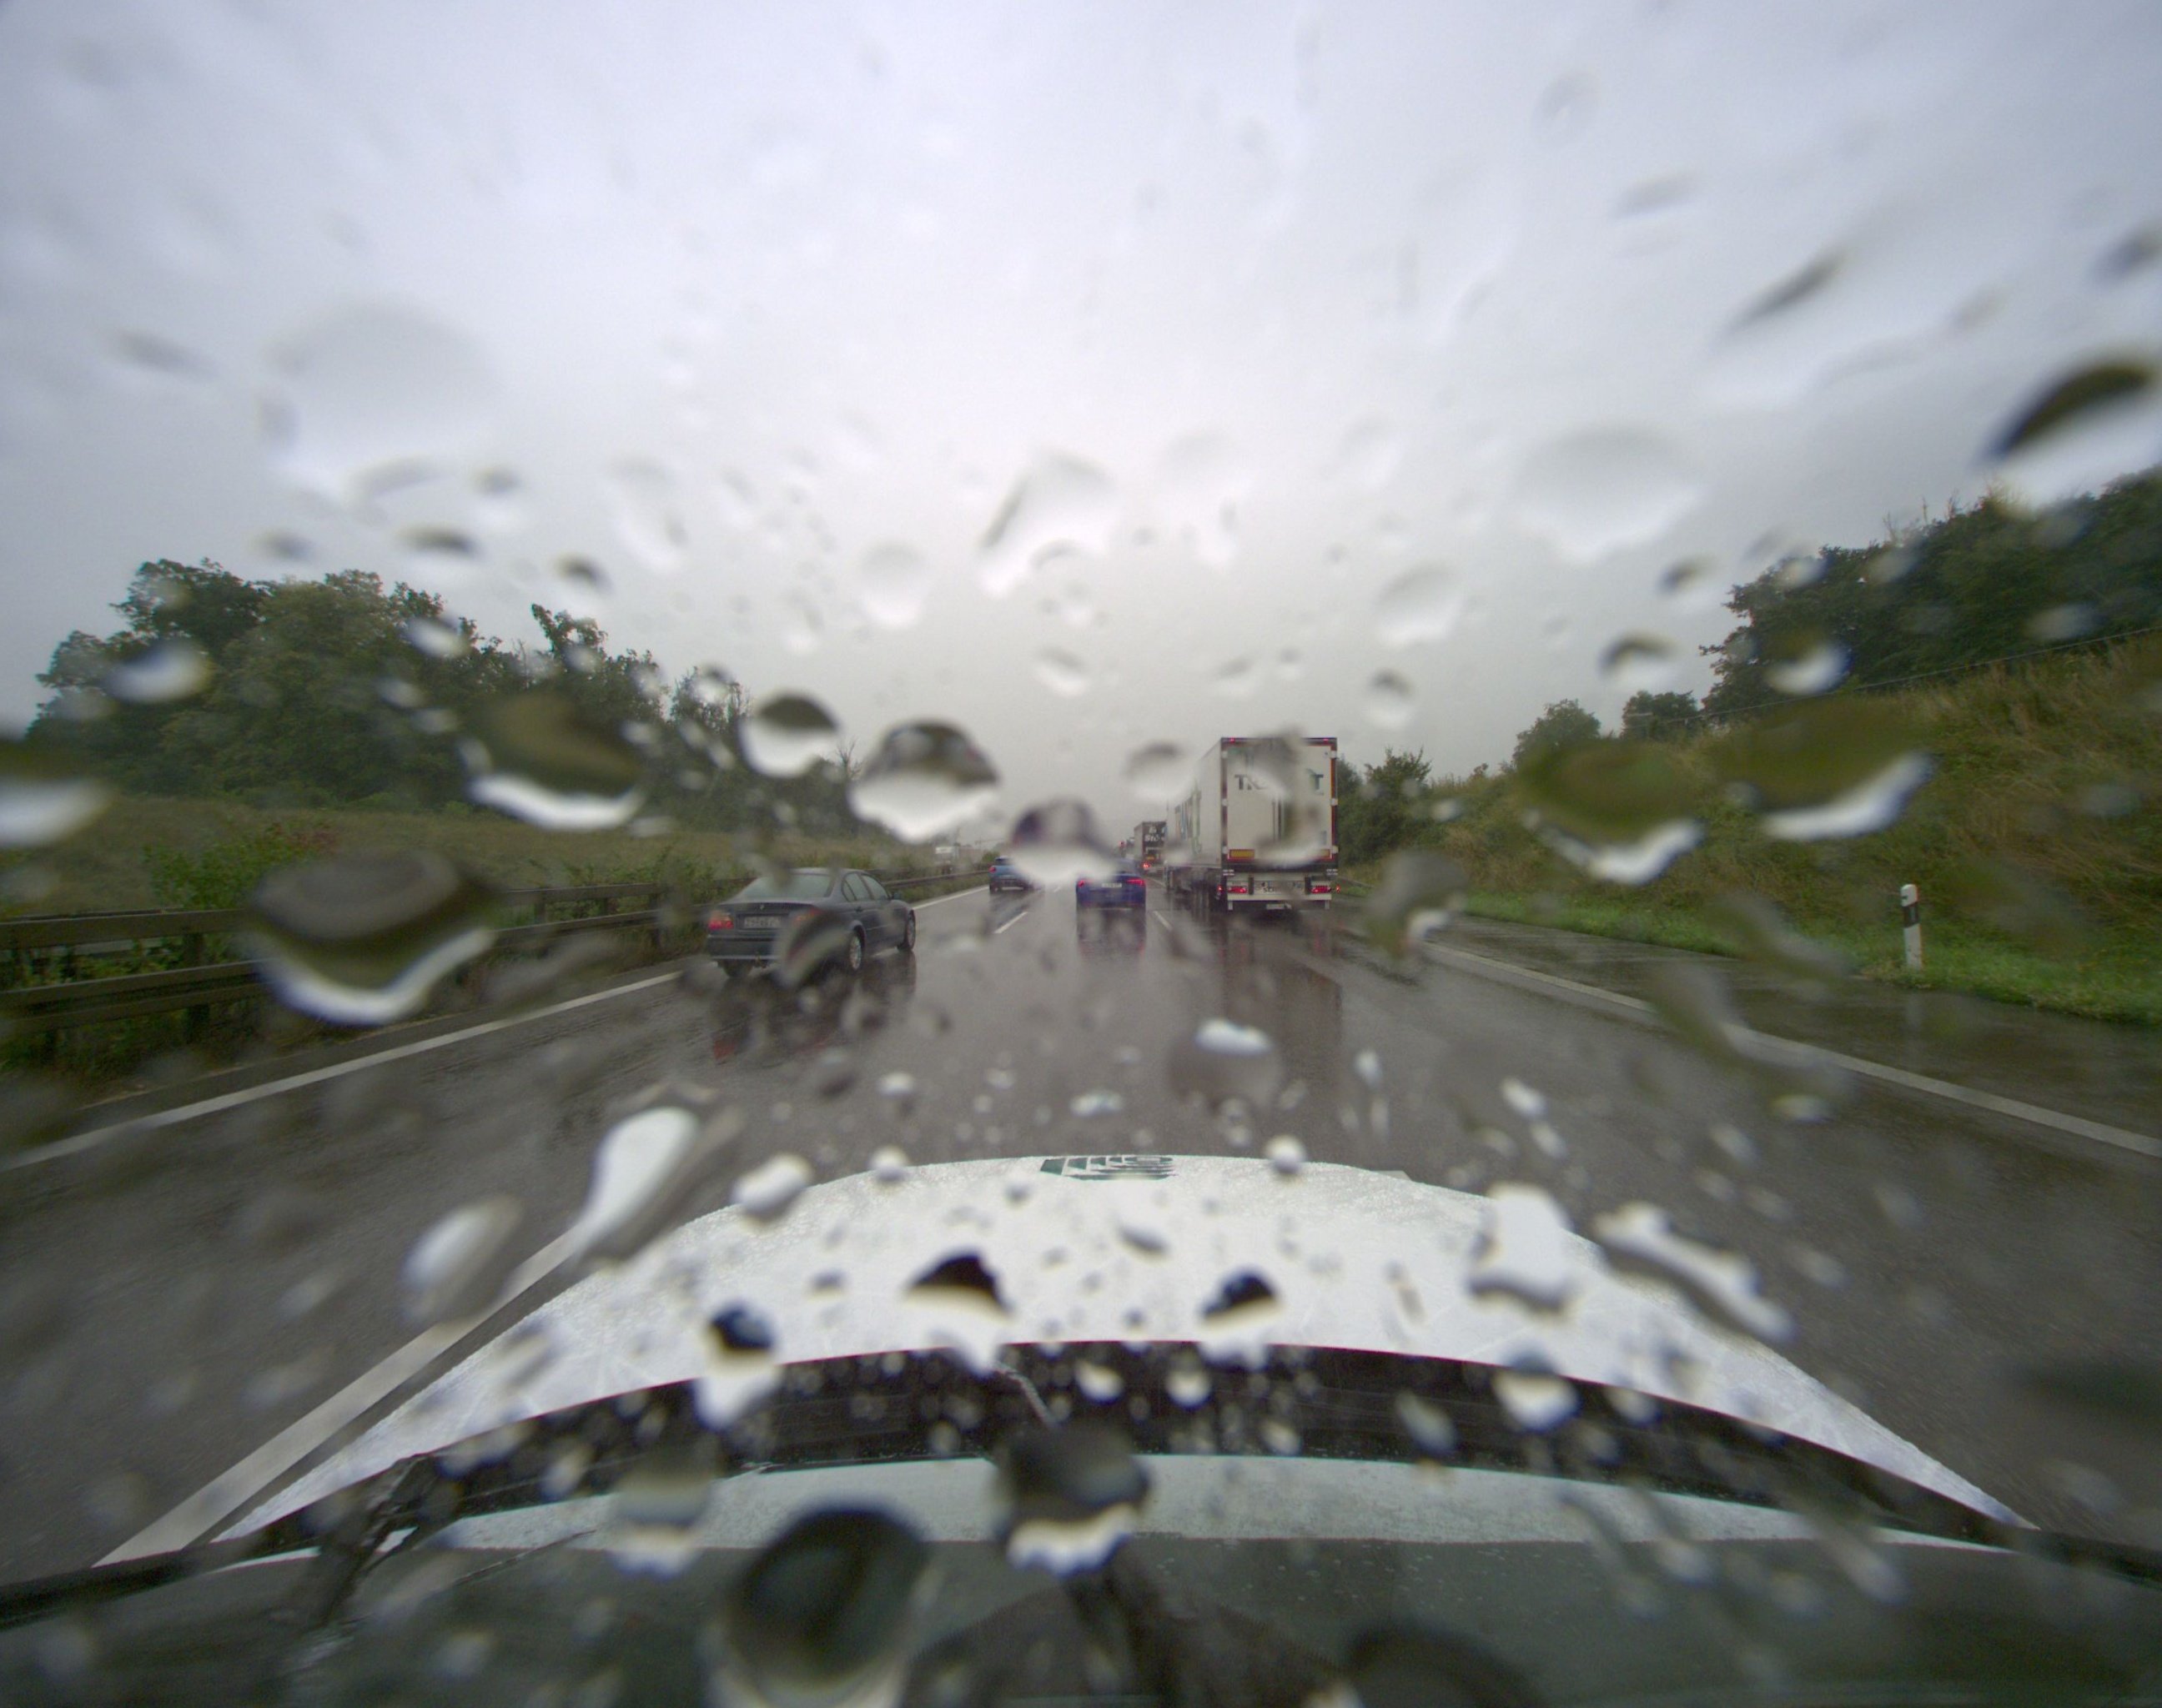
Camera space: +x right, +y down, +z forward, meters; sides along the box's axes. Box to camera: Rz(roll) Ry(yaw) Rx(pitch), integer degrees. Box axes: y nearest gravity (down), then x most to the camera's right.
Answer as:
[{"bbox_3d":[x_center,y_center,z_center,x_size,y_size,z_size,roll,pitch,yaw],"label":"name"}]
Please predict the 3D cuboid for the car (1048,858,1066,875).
[{"bbox_3d":[-2.192,1.142,74.397,1.434,1.420,3.323,-1,0,1],"label":"car"}]

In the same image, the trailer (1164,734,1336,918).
[{"bbox_3d":[4.481,-0.624,25.322,2.621,4.013,14.633,-1,0,1],"label":"trailer"}]

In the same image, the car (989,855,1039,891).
[{"bbox_3d":[-2.948,0.815,36.713,1.715,1.523,4.002,-1,0,2],"label":"car"}]

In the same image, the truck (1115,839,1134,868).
[{"bbox_3d":[5.434,-0.088,103.656,1.987,3.421,8.031,-1,0,0],"label":"truck"}]

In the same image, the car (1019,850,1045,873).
[{"bbox_3d":[-3.124,0.467,52.382,1.354,1.431,3.364,-1,0,2],"label":"car"}]

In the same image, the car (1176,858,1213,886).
[{"bbox_3d":[5.552,0.841,40.054,1.418,1.288,3.461,-1,0,1],"label":"car"}]

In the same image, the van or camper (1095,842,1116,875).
[{"bbox_3d":[2.201,0.369,73.149,1.791,2.806,4.769,-1,0,1],"label":"van or camper"}]

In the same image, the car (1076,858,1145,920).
[{"bbox_3d":[0.789,0.852,21.531,1.629,1.445,4.002,-1,0,2],"label":"car"}]

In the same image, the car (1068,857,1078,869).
[{"bbox_3d":[-1.163,1.290,123.540,1.443,1.784,3.410,0,-1,1],"label":"car"}]

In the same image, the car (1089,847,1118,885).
[{"bbox_3d":[1.096,0.559,40.190,1.332,1.780,3.323,-1,0,1],"label":"car"}]

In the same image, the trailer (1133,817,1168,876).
[{"bbox_3d":[5.303,-0.557,63.750,2.039,4.176,11.451,-1,0,1],"label":"trailer"}]

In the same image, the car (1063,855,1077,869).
[{"bbox_3d":[-1.214,0.906,91.963,1.434,1.533,3.323,-1,0,1],"label":"car"}]

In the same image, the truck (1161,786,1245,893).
[{"bbox_3d":[4.658,-0.530,31.961,2.621,3.827,4.792,-1,0,1],"label":"truck"}]

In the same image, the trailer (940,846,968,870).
[{"bbox_3d":[-17.211,0.572,110.737,1.986,3.082,9.557,-1,0,1],"label":"trailer"}]

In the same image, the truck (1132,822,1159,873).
[{"bbox_3d":[5.475,-0.571,69.686,2.039,4.193,4.001,-1,0,1],"label":"truck"}]

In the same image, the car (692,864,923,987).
[{"bbox_3d":[-3.654,0.870,11.764,1.711,1.400,4.233,-1,0,3],"label":"car"}]

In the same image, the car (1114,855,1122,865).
[{"bbox_3d":[6.885,1.137,151.644,1.443,1.784,3.410,0,-1,1],"label":"car"}]
